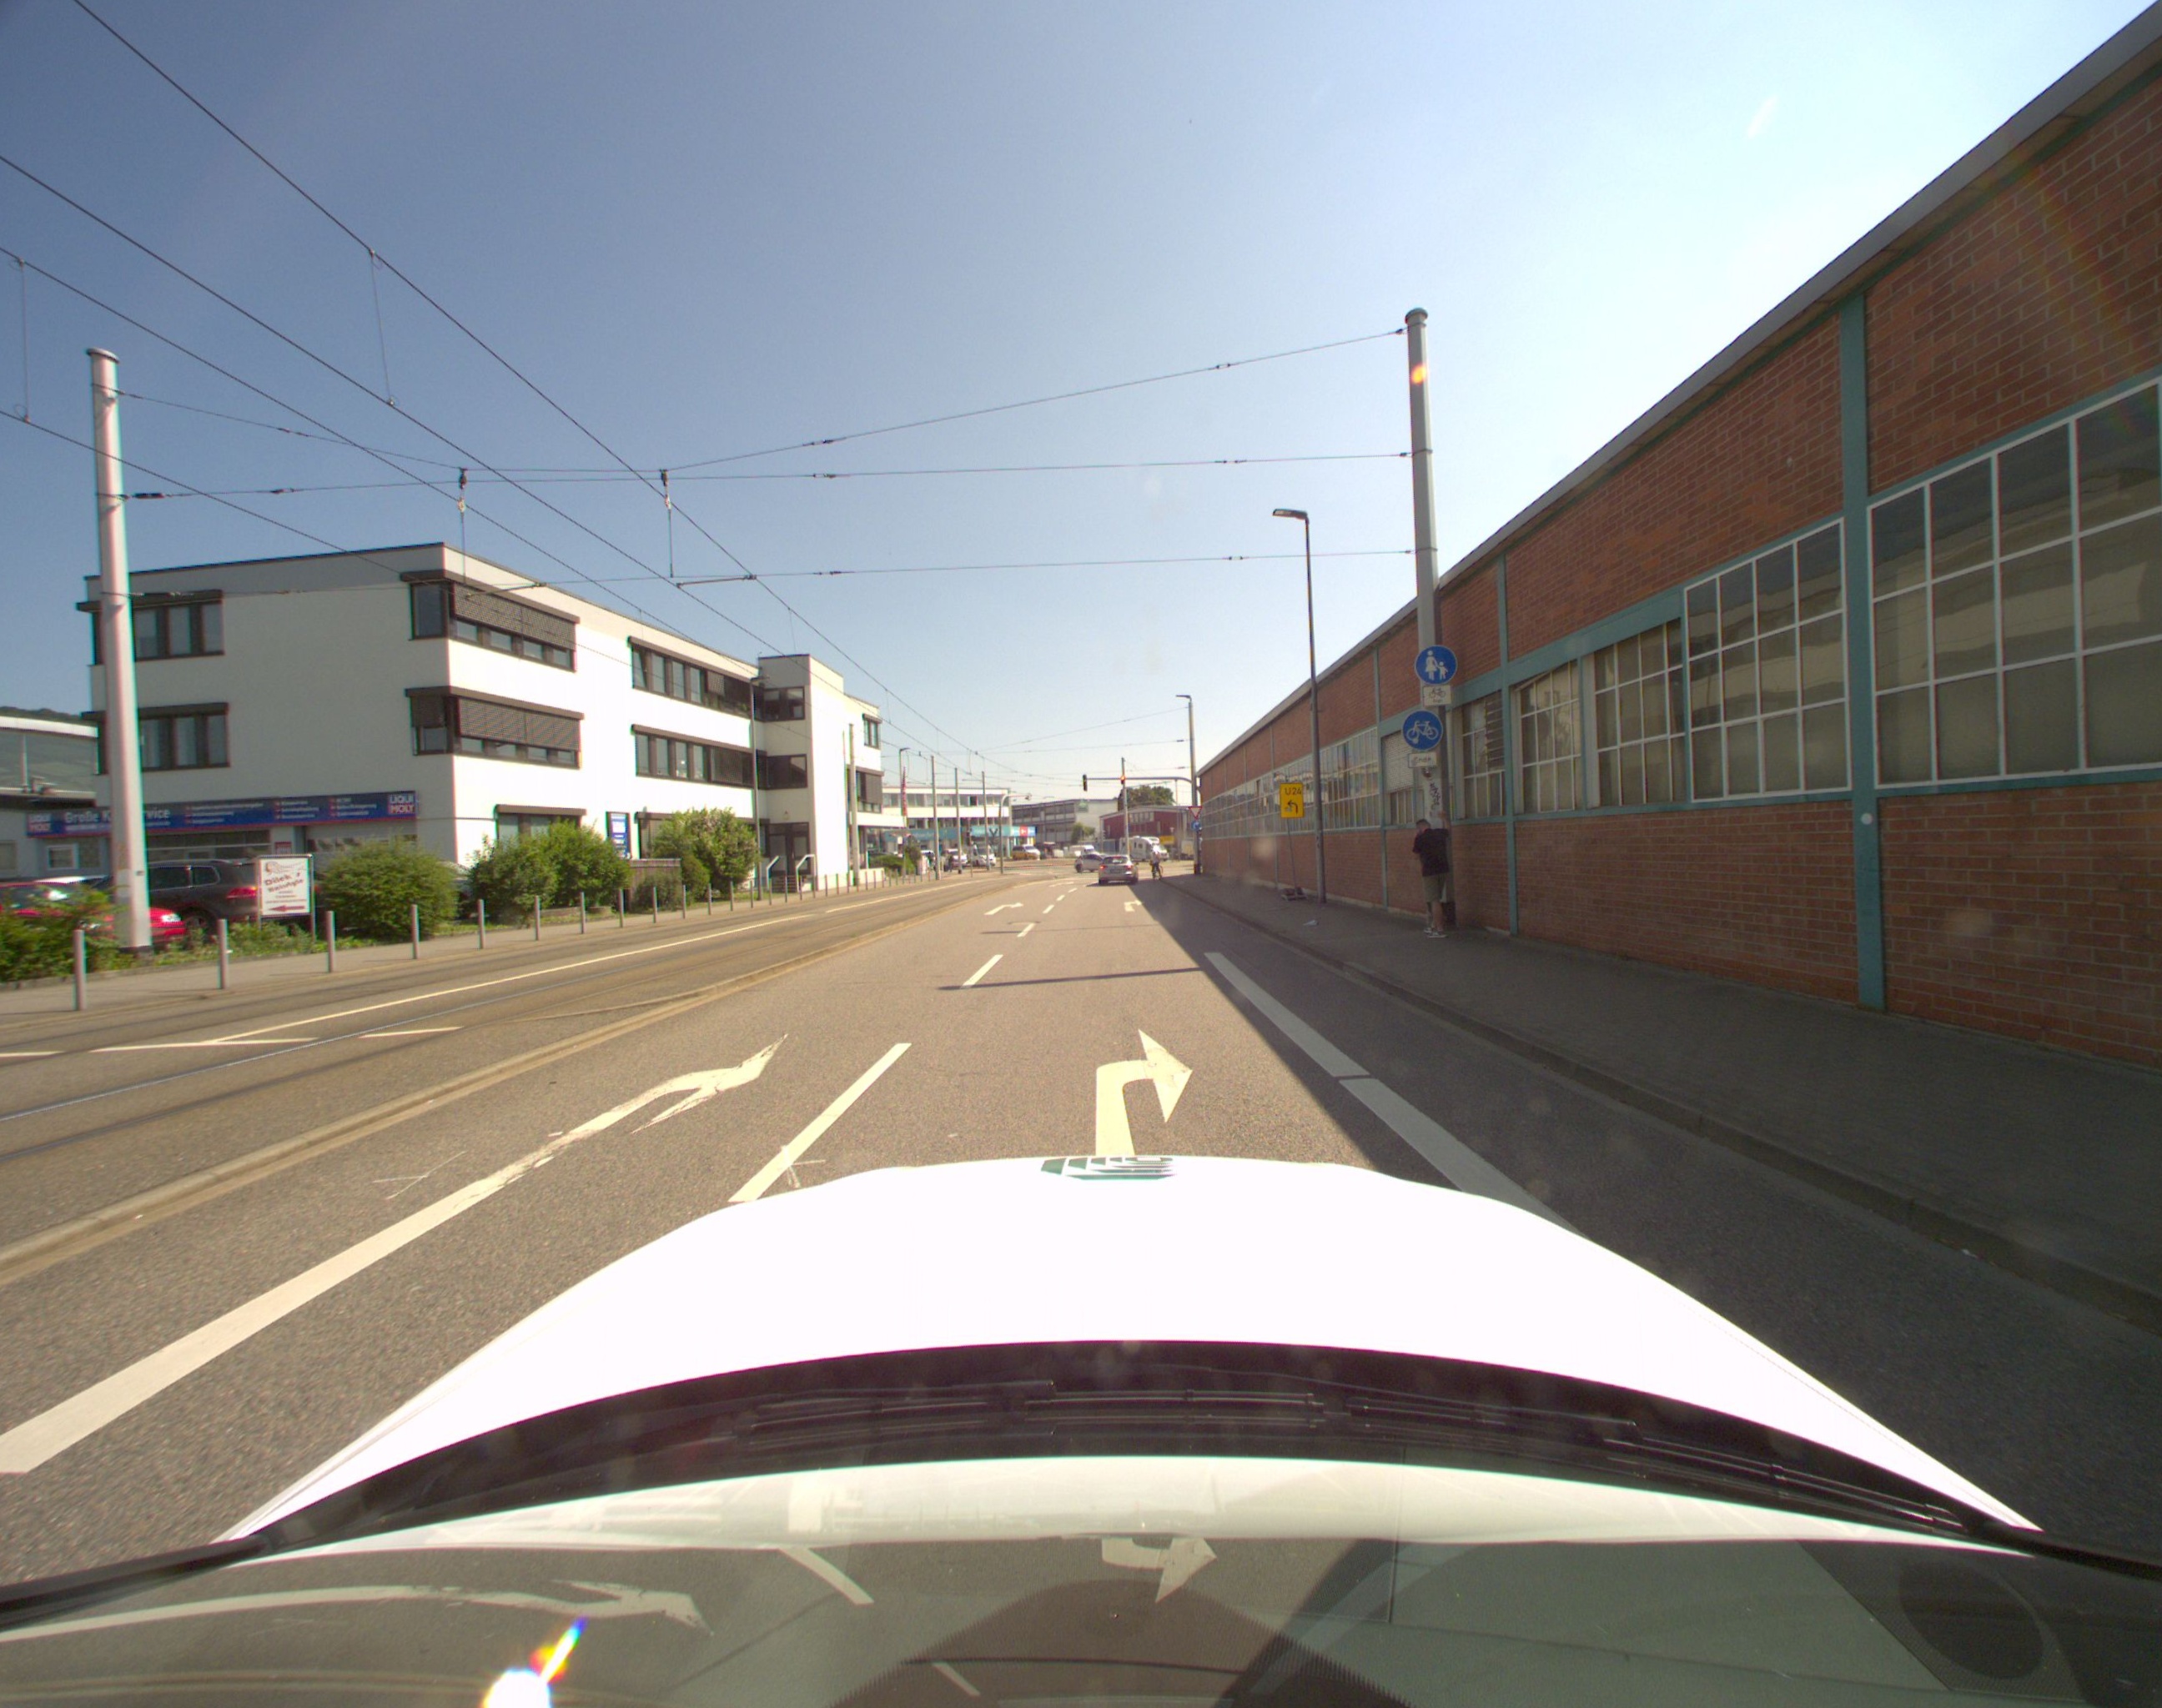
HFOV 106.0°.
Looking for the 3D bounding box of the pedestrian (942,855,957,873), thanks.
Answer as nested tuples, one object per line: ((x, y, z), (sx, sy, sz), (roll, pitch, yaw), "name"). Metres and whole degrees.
((-11.028, 0.793, 68.158), (1.129, 1.455, 0.835), (-2, 0, -8), "pedestrian")

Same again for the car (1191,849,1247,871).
((10.360, 0.456, 61.269), (3.969, 1.508, 1.881), (-2, 0, 4), "car")

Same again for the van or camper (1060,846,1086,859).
((-1.317, -0.164, 130.815), (2.012, 1.947, 3.950), (-2, 0, -44), "van or camper")

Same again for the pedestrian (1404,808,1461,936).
((4.981, 0.248, 11.565), (0.678, 1.764, 0.451), (-1, 2, 18), "pedestrian")

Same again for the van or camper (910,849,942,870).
((-17.004, 0.586, 89.114), (2.005, 2.013, 4.720), (-3, 3, -28), "van or camper")

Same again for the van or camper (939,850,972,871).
((-13.831, 0.649, 89.360), (2.005, 2.013, 4.965), (-3, 3, -28), "van or camper")

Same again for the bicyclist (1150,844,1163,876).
((4.412, 0.357, 47.586), (0.704, 1.810, 0.984), (-2, 0, 4), "bicyclist")

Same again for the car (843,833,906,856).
((-15.354, -0.749, 60.694), (3.968, 1.518, 2.003), (-2, 2, 4), "car")

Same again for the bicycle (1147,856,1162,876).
((4.107, 0.671, 45.384), (0.790, 1.021, 2.154), (-2, 0, 6), "bicycle")

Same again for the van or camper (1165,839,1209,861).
((12.787, -0.531, 98.776), (2.299, 2.439, 5.330), (-3, 4, -34), "van or camper")

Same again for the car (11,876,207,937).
((-26.721, 1.402, 22.522), (1.407, 1.426, 3.144), (-3, 0, 13), "car")

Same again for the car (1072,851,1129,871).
((1.495, 0.541, 63.097), (4.150, 1.374, 1.814), (-2, 0, 38), "car")

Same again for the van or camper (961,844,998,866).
((-11.374, 0.087, 90.827), (2.043, 2.296, 5.760), (-3, 3, -28), "van or camper")

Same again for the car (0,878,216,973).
((-17.248, 1.181, 13.610), (3.806, 1.370, 1.750), (-2, 0, 4), "car")

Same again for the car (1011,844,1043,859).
((-6.976, -0.314, 104.531), (1.951, 1.759, 5.071), (-2, 0, -31), "car")

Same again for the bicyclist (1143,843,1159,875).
((3.892, 0.275, 45.173), (0.782, 1.721, 1.148), (-2, 0, 5), "bicyclist")

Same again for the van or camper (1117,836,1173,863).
((7.442, -0.595, 95.730), (2.366, 2.930, 6.905), (-4, 3, -40), "van or camper")

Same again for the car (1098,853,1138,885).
((1.908, 0.726, 40.814), (1.737, 1.459, 4.007), (-2, 0, 6), "car")

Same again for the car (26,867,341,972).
((-17.343, 1.217, 15.888), (3.970, 1.706, 2.002), (-3, 0, 3), "car")
